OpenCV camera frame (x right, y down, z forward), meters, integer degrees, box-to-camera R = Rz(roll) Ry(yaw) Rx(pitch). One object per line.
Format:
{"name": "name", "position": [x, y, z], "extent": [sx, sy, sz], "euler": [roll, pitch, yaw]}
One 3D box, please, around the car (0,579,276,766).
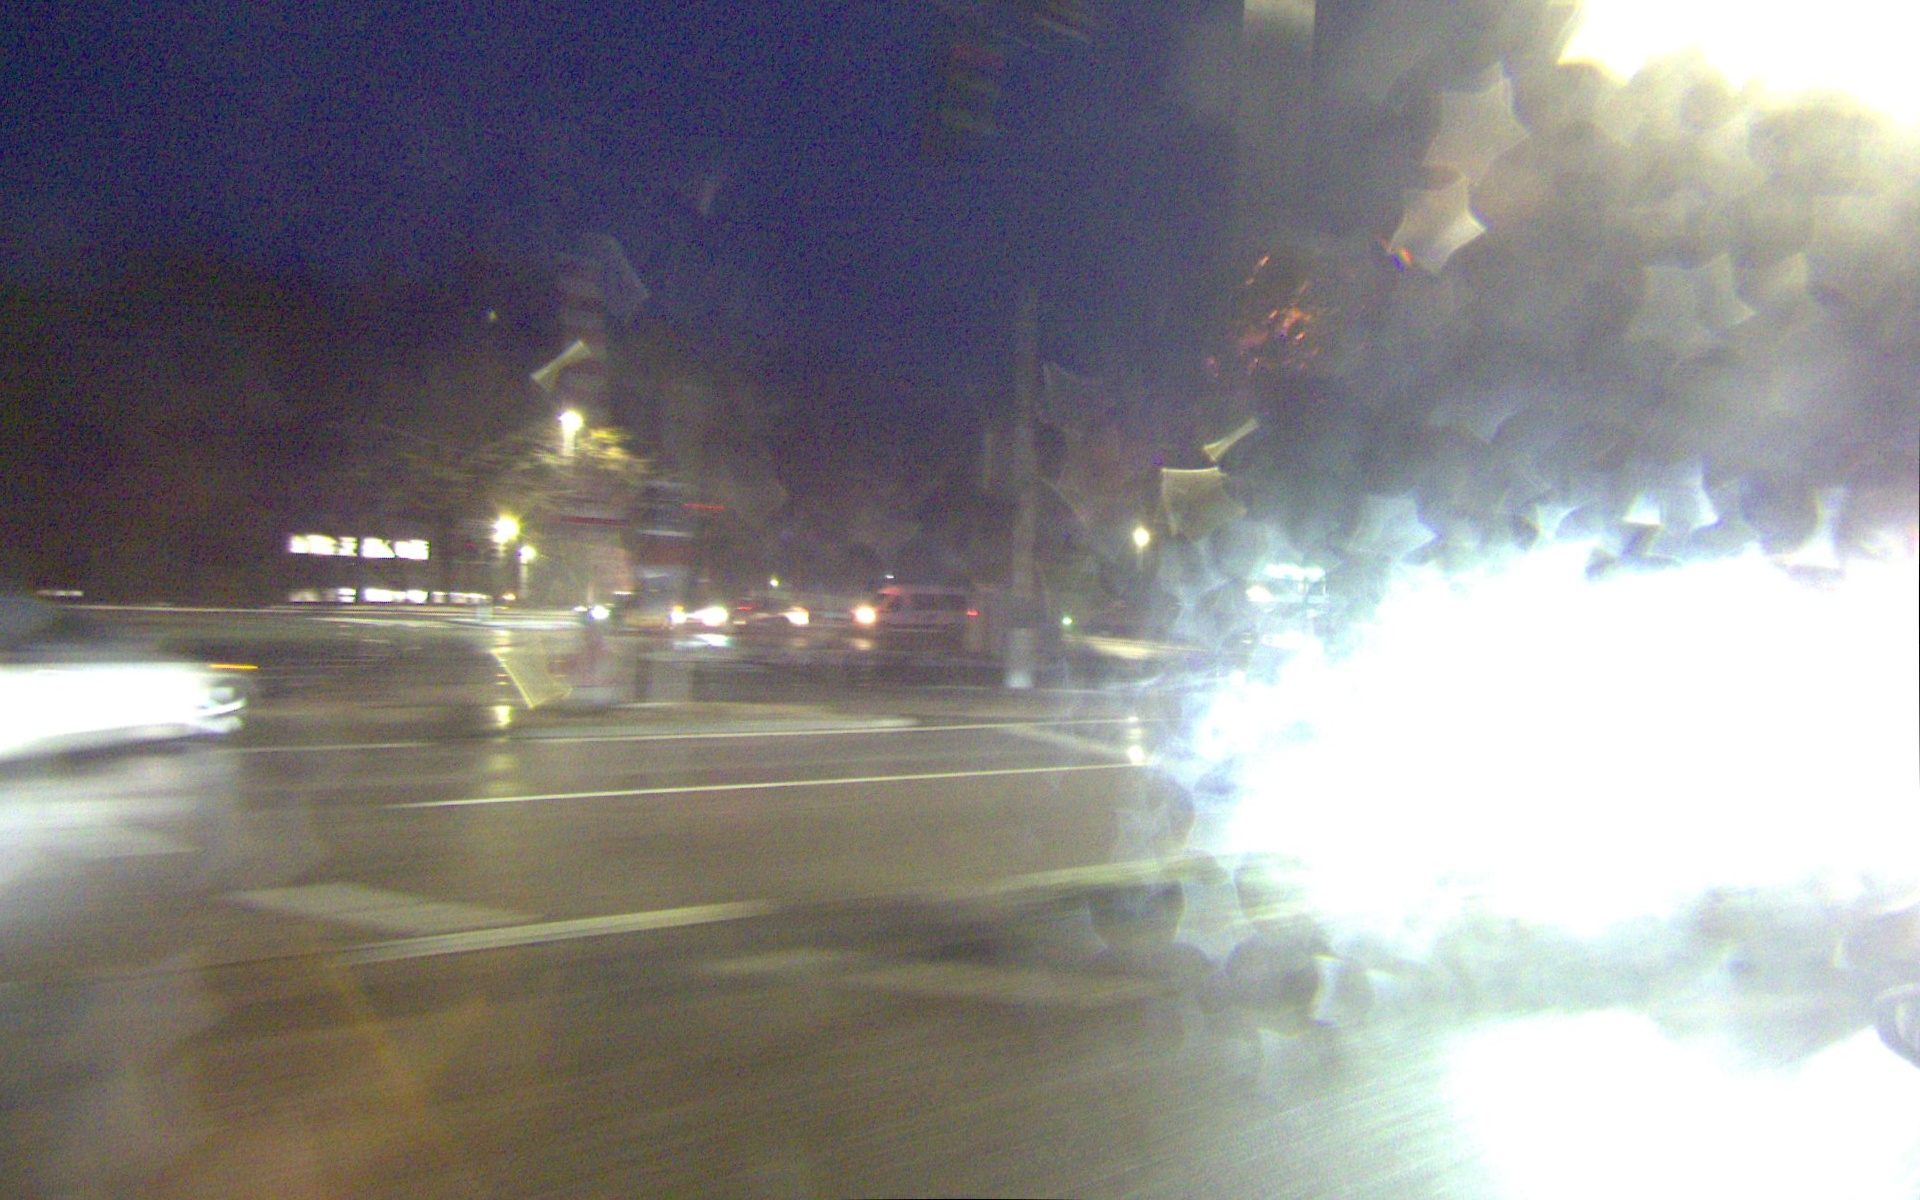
{"name": "car", "position": [-8.048, 0.533, 8.153], "extent": [1.633, 1.383, 4.506], "euler": [2, 0, 4]}

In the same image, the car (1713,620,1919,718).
{"name": "car", "position": [17.682, 1.359, 20.497], "extent": [4.441, 1.770, 1.986], "euler": [2, 0, -28]}

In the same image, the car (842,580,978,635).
{"name": "car", "position": [-2.279, 0.357, 46.509], "extent": [5.947, 2.338, 1.985], "euler": [2, 0, -28]}

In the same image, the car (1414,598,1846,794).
{"name": "car", "position": [7.492, 0.963, 11.102], "extent": [4.955, 1.720, 1.984], "euler": [3, 0, -31]}

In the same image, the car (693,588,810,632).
{"name": "car", "position": [-8.717, 0.438, 42.148], "extent": [4.407, 1.715, 1.832], "euler": [2, 0, -37]}

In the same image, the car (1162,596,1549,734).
{"name": "car", "position": [5.553, 0.823, 13.975], "extent": [5.098, 1.577, 2.347], "euler": [2, 0, -30]}

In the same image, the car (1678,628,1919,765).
{"name": "car", "position": [12.355, 1.291, 14.199], "extent": [4.415, 1.591, 1.947], "euler": [3, 0, -31]}

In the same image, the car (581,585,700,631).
{"name": "car", "position": [-12.034, 0.314, 38.093], "extent": [1.965, 1.613, 3.991], "euler": [2, 0, 31]}

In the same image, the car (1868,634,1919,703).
{"name": "car", "position": [23.730, 1.639, 23.884], "extent": [3.639, 1.549, 1.959], "euler": [2, 0, -26]}
